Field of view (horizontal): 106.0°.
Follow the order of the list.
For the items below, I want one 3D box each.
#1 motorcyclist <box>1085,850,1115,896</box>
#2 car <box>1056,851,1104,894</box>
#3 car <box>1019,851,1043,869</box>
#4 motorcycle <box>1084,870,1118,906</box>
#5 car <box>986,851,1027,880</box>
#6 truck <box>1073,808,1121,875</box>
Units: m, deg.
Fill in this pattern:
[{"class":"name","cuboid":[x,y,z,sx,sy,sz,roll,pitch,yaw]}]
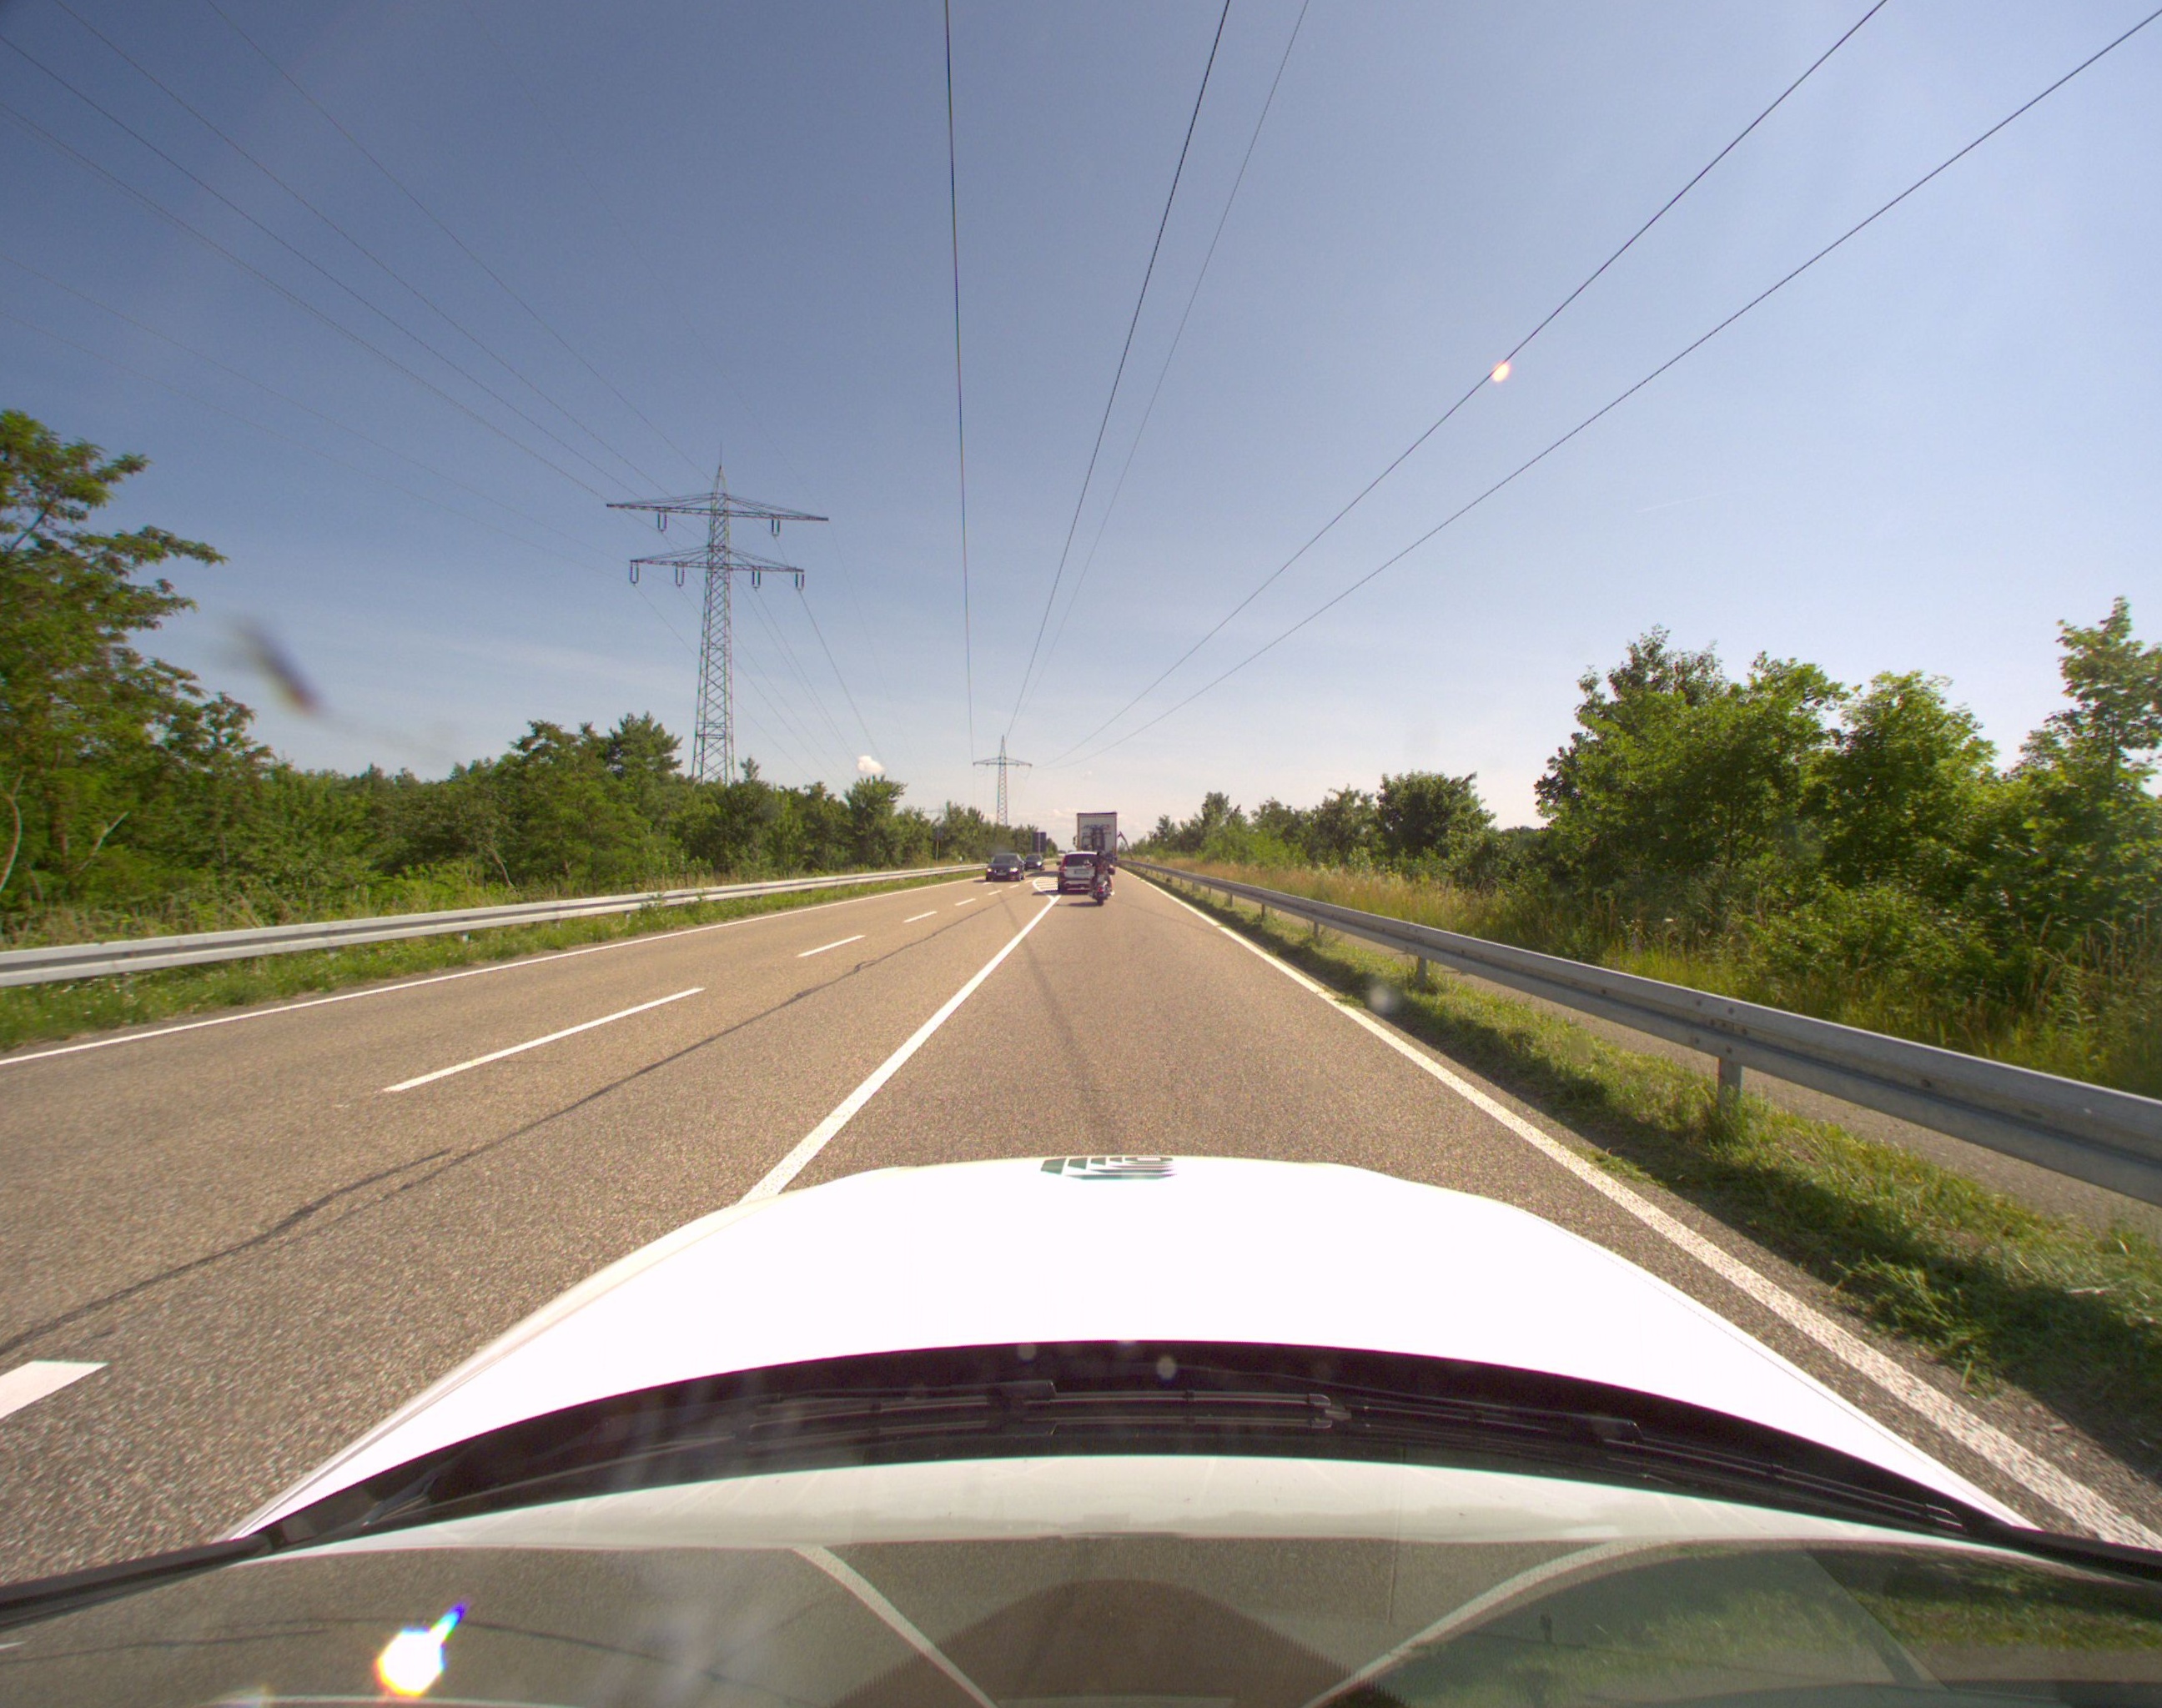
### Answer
[{"class":"motorcyclist","cuboid":[0.543,0.538,23.465,0.835,1.280,0.919,0,0,-1]},{"class":"car","cuboid":[0.009,0.654,30.676,1.695,1.536,3.500,0,0,1]},{"class":"car","cuboid":[-4.205,0.516,69.596,1.653,1.442,4.216,-1,0,2]},{"class":"motorcycle","cuboid":[0.553,0.947,23.344,0.856,0.915,2.227,-1,0,-1]},{"class":"car","cuboid":[-4.018,0.603,44.606,1.721,1.491,4.423,-1,0,1]},{"class":"truck","cuboid":[0.967,-0.816,59.110,2.959,4.187,14.815,0,0,-1]}]
